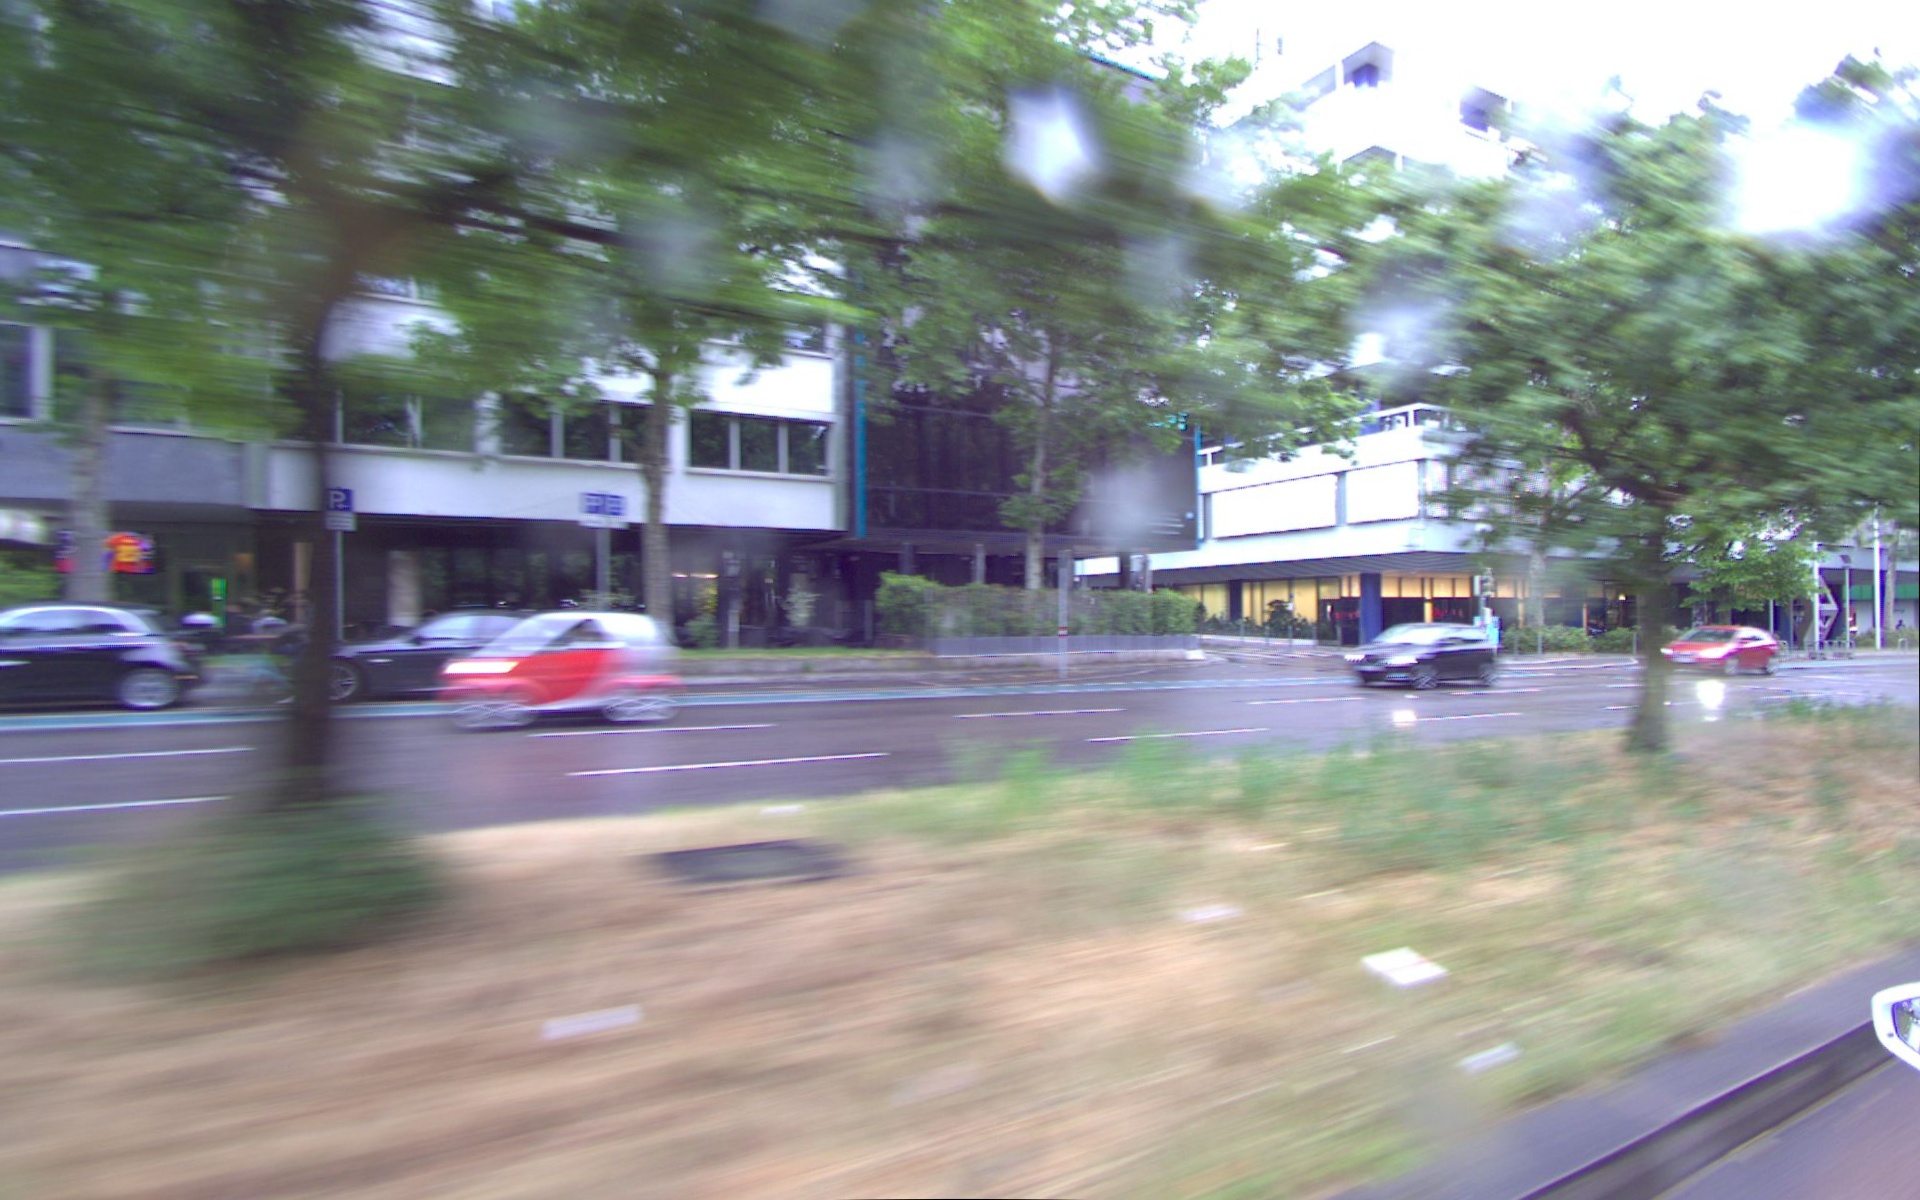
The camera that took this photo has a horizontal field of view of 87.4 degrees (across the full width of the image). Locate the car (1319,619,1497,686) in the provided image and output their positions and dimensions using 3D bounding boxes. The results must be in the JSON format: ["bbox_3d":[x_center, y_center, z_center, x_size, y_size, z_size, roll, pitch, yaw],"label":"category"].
[{"bbox_3d":[10.305,1.152,23.039,3.954,1.408,1.834,1,-1,-31],"label":"car"}]

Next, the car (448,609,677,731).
[{"bbox_3d":[-5.347,0.869,13.504,2.699,1.483,1.487,1,-1,-30],"label":"car"}]

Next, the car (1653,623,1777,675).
[{"bbox_3d":[22.896,1.439,30.443,4.136,1.412,1.606,0,0,-31],"label":"car"}]

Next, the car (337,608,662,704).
[{"bbox_3d":[-7.736,0.860,17.119,4.848,1.428,1.684,0,0,-31],"label":"car"}]

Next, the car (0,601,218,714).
[{"bbox_3d":[-12.694,0.764,14.164,3.420,1.488,1.684,0,0,-31],"label":"car"}]
